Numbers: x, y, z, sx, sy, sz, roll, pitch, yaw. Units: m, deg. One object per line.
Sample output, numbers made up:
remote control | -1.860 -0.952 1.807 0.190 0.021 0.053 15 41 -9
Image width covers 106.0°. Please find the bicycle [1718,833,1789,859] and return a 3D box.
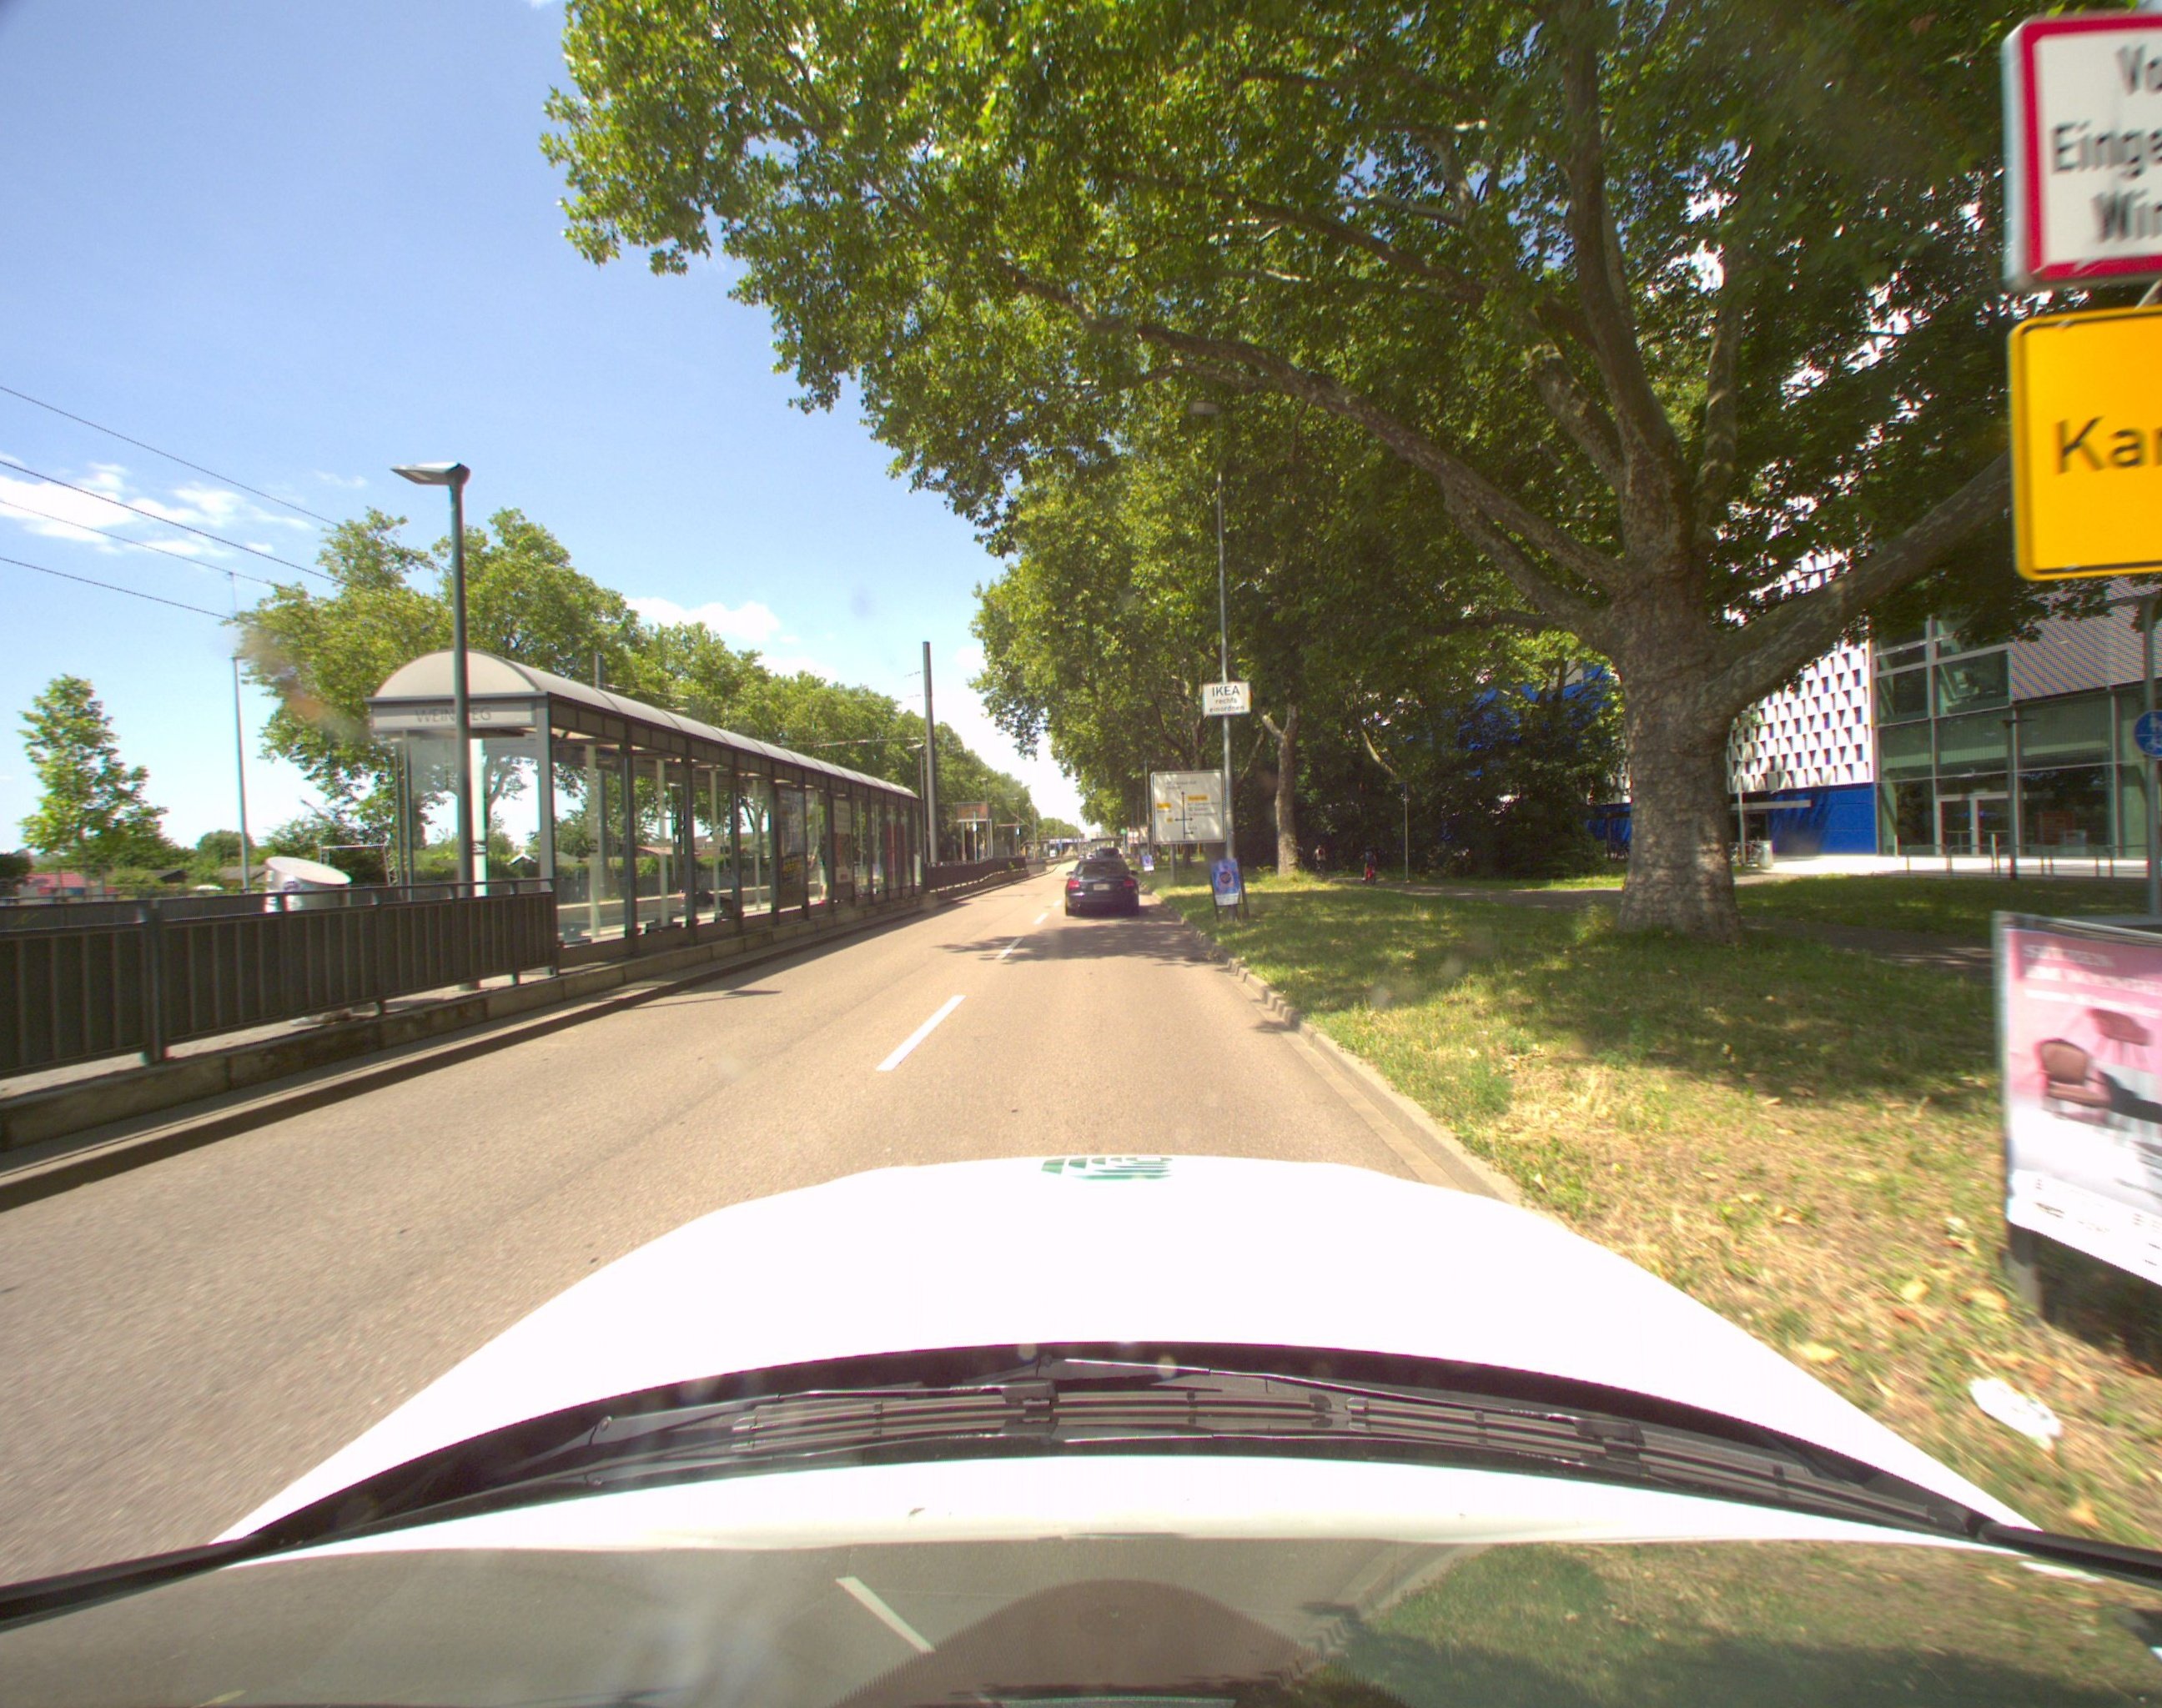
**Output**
bicycle | 27.320 -0.313 33.099 2.310 0.960 0.758 -2 0 -3

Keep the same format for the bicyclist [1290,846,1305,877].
bicyclist | 12.475 0.421 46.947 0.595 1.746 0.843 -1 0 2

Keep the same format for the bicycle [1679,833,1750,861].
bicycle | 27.511 -0.291 35.361 2.539 1.110 0.758 -2 0 -3

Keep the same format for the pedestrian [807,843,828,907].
pedestrian | -6.311 0.508 19.527 0.419 1.508 0.393 -2 0 -22

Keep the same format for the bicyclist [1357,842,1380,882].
bicyclist | 11.749 0.324 33.300 0.620 1.610 0.817 -2 0 3

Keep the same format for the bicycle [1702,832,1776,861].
bicycle | 27.636 -0.304 34.228 2.539 1.110 0.758 -2 0 -3

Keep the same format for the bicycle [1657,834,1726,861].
bicycle | 27.307 -0.279 36.444 2.539 1.110 0.758 -2 0 -3

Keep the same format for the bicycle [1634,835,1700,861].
bicycle | 27.140 -0.264 37.717 2.539 1.110 0.758 -2 0 -3

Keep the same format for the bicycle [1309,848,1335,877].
bicycle | 12.394 0.444 41.948 0.608 1.420 2.662 -2 0 2

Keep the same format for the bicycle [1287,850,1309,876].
bicycle | 12.513 0.496 47.001 0.608 1.420 2.662 -2 0 2

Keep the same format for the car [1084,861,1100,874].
car | 1.285 1.626 98.439 1.839 1.464 3.999 -2 0 0

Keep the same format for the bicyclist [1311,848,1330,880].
bicyclist | 12.363 0.510 42.032 0.656 1.599 1.054 -2 -1 2

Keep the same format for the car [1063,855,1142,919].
car | 0.576 0.798 21.168 1.835 1.484 4.001 -1 -1 2

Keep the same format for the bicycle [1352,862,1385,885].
bicycle | 11.739 0.777 33.313 0.643 0.887 2.023 -2 0 0

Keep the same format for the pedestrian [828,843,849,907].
pedestrian | -5.878 0.507 19.735 0.419 1.508 0.393 -2 0 -22

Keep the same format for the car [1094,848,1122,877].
car | 2.016 0.598 59.042 1.840 1.959 4.149 -1 0 4

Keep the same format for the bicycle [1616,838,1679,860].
bicycle | 27.127 -0.251 38.988 2.539 0.970 0.758 -2 0 -3
